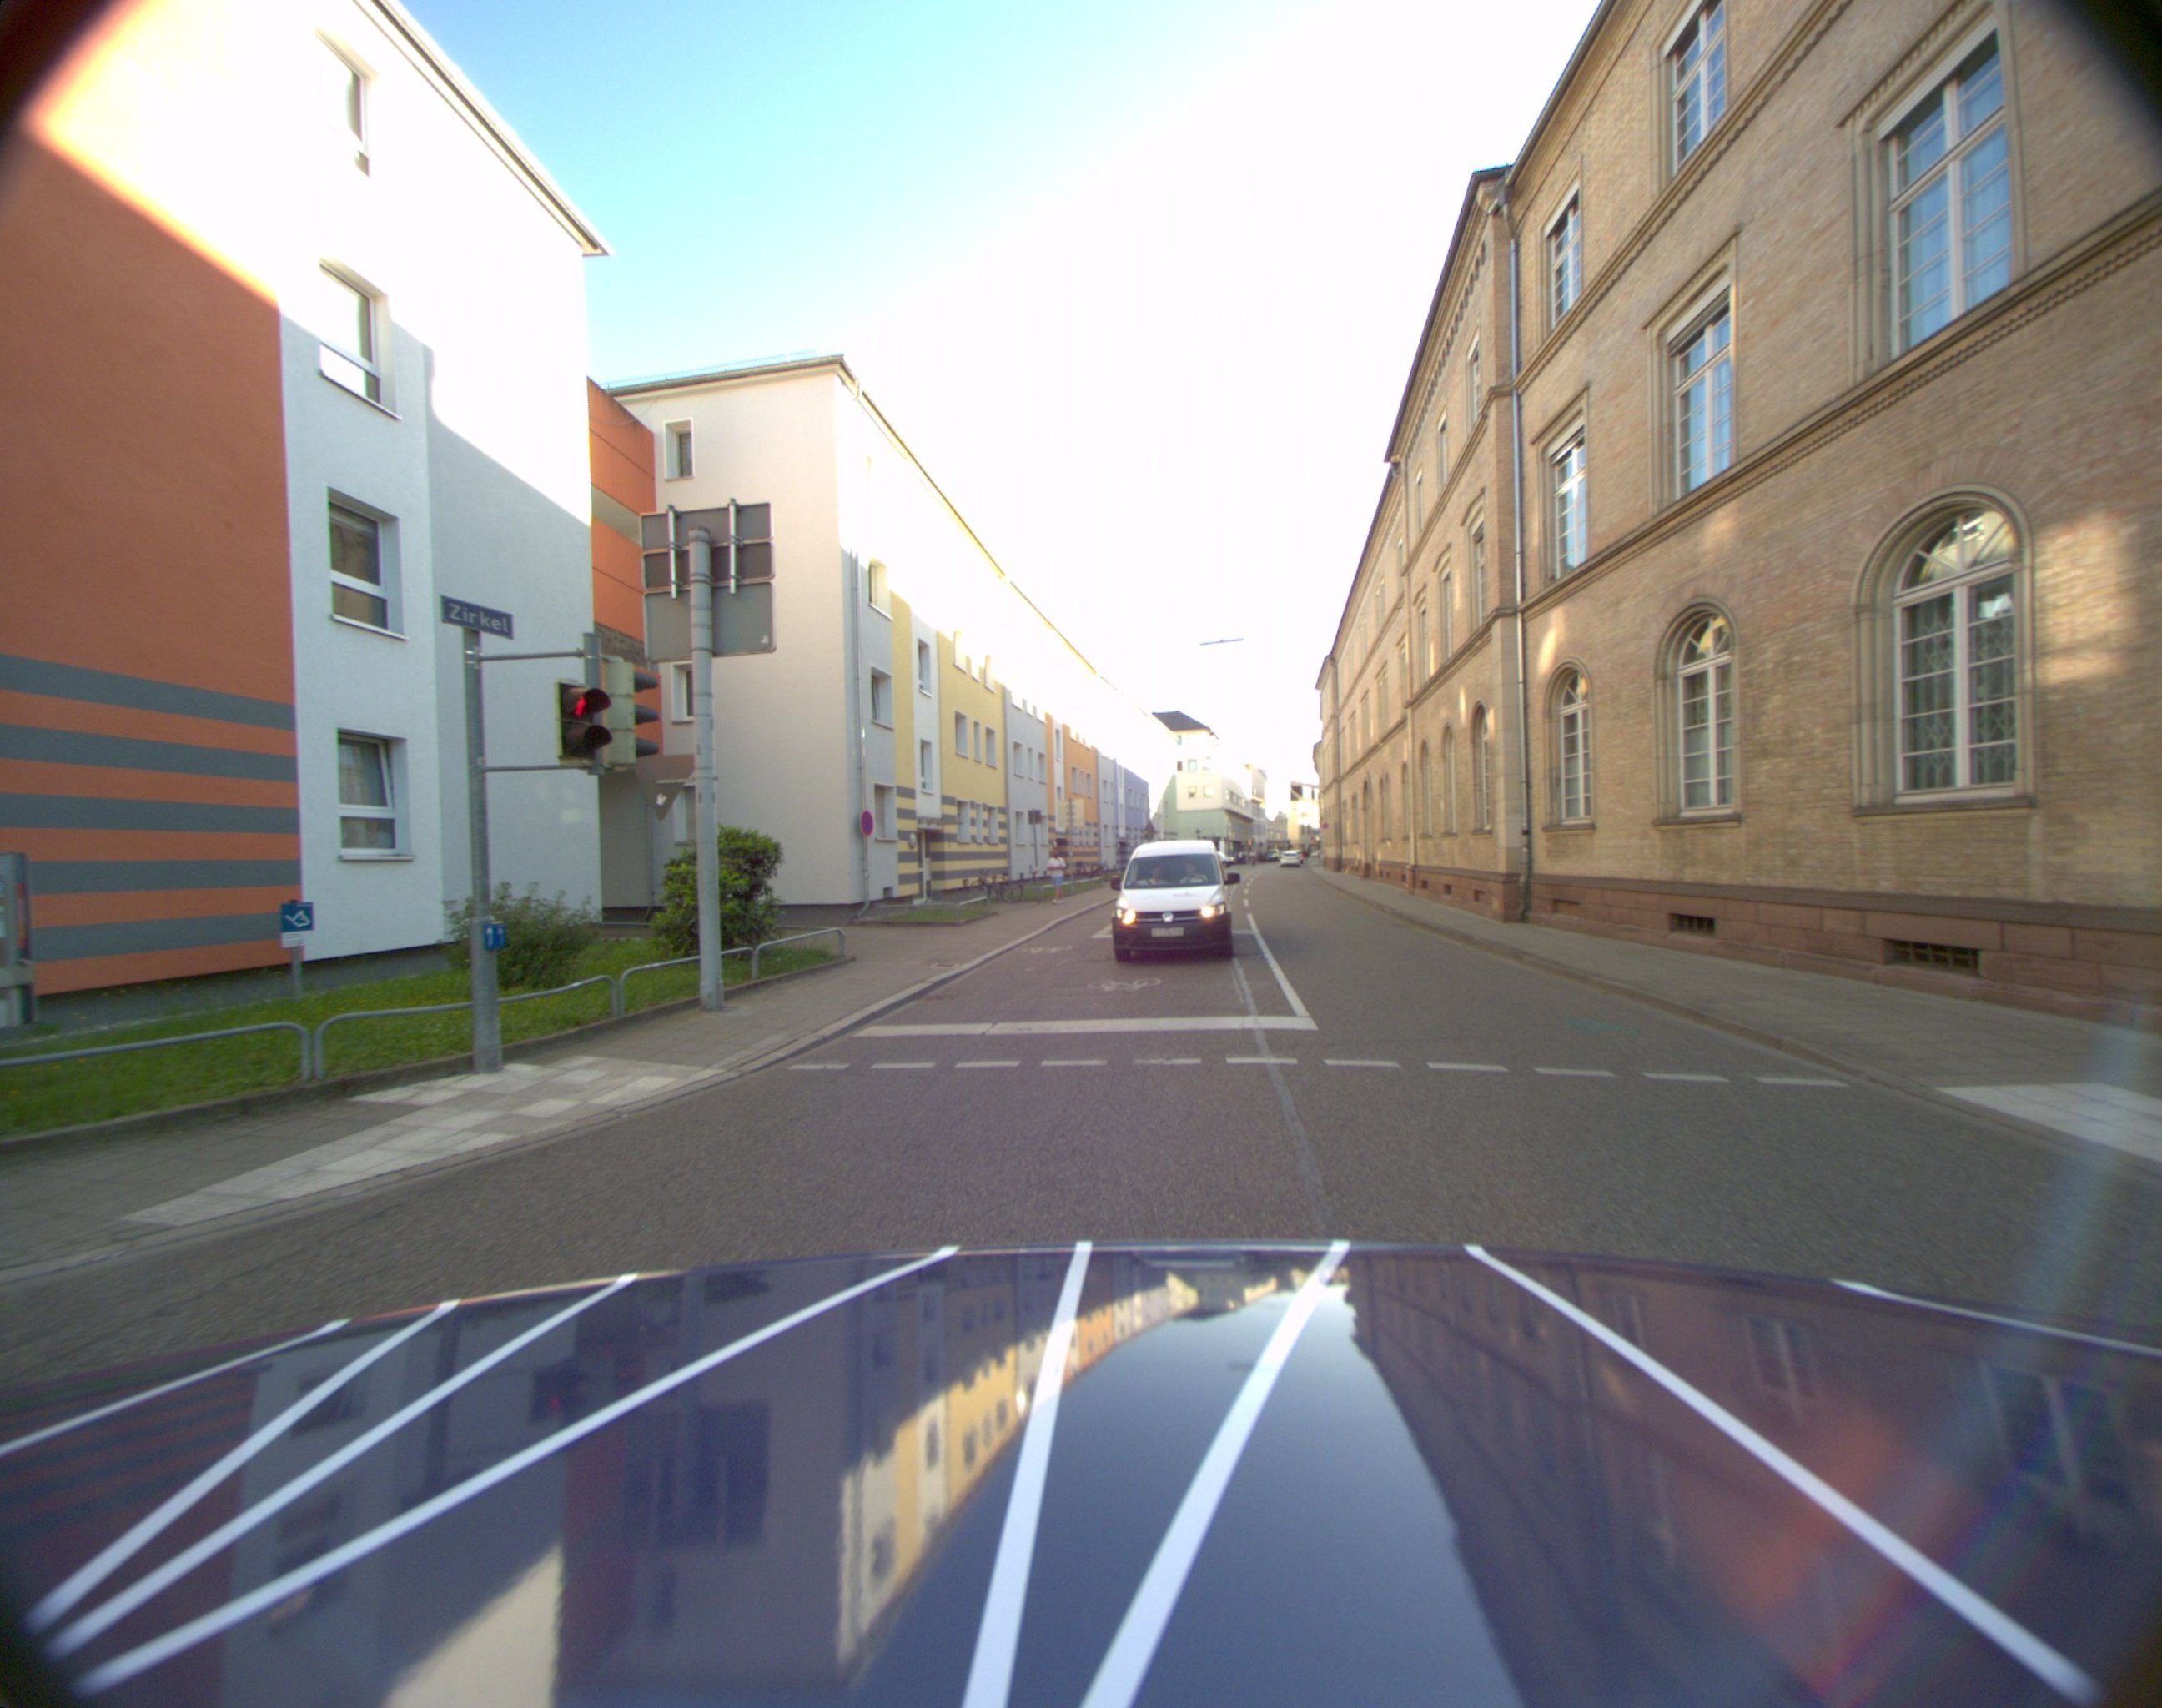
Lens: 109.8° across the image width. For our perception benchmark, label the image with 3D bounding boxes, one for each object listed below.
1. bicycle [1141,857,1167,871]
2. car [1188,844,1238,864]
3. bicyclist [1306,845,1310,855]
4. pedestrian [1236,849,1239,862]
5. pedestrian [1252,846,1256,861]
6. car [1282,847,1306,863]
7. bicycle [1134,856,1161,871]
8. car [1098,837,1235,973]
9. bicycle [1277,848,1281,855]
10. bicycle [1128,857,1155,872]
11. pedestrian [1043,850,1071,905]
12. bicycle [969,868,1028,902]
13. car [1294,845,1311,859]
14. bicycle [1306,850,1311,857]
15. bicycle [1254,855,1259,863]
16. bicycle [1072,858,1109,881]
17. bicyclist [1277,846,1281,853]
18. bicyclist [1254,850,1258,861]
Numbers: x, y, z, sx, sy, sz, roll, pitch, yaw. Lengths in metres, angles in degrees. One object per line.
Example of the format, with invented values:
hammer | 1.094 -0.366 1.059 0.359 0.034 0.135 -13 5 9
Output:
bicycle | 5.197 0.707 54.143 1.774 0.934 0.584 0 1 18
car | 13.674 0.014 78.836 4.758 1.927 2.003 -1 1 19
bicyclist | 33.207 -0.544 111.071 0.604 1.434 0.579 -1 1 15
pedestrian | 18.160 0.155 88.149 0.371 1.546 0.404 -1 1 19
pedestrian | 20.286 -0.021 89.096 0.508 1.752 0.412 -1 1 15
car | 20.240 0.066 72.227 1.888 1.467 4.551 1 1 19
bicycle | 4.702 0.683 53.608 1.774 0.990 0.584 0 1 18
car | 1.668 0.688 12.985 1.817 1.826 5.345 -1 0 11
bicycle | 31.675 -0.357 121.585 0.548 1.076 1.966 -1 1 16
bicycle | 4.188 0.712 52.337 1.774 0.990 0.584 0 1 18
pedestrian | -0.728 0.722 23.420 0.643 1.662 0.835 0 1 13
bicycle | -2.599 0.977 23.988 1.775 1.043 0.584 0 1 6
car | 24.919 -0.218 85.434 1.687 1.573 4.280 1 1 17
bicycle | 33.226 -0.072 111.070 0.608 0.922 2.267 -1 0 15
bicycle | 17.682 0.487 76.680 0.348 0.719 1.118 -1 0 6
bicycle | 0.468 0.790 38.006 1.775 1.118 0.584 0 1 9
bicyclist | 31.661 -0.742 121.571 0.548 1.204 0.584 -1 1 16
bicyclist | 17.673 0.133 76.680 0.348 1.101 0.368 -1 1 6
